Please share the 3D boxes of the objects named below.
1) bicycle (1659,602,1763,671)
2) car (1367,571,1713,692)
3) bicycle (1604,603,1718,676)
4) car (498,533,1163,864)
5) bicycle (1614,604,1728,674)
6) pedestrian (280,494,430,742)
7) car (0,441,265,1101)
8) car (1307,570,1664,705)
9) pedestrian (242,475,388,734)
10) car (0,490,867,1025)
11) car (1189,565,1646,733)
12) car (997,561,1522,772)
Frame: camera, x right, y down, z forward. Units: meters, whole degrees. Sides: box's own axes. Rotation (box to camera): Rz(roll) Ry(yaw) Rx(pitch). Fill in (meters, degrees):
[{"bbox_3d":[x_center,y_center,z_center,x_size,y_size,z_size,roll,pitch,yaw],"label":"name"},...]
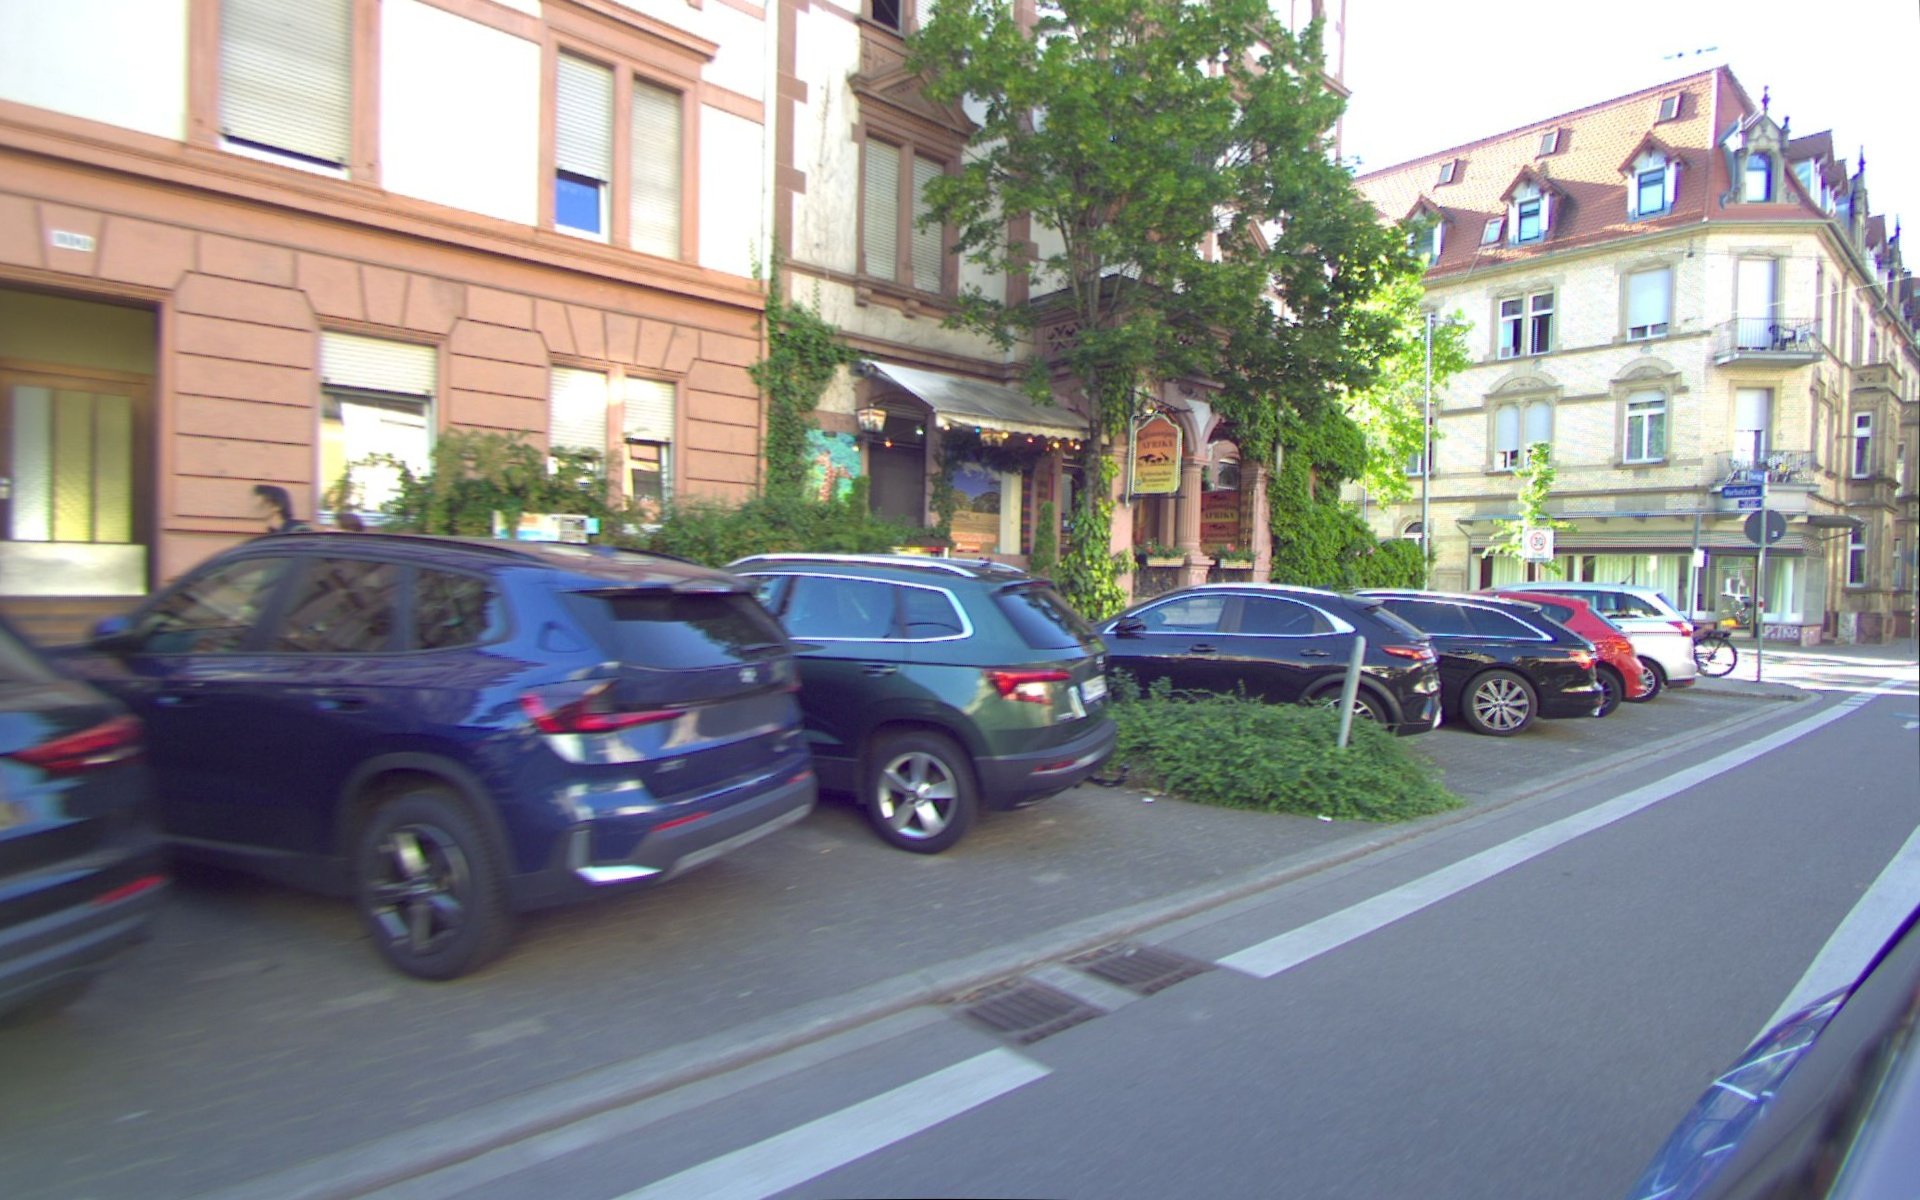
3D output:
[{"bbox_3d":[13.417,0.628,18.104,0.542,1.141,1.400,0,1,-40],"label":"bicycle"},{"bbox_3d":[8.563,0.378,15.397,4.320,1.616,1.837,1,1,26],"label":"car"},{"bbox_3d":[11.724,0.638,16.980,0.289,1.141,1.566,0,1,-34],"label":"bicycle"},{"bbox_3d":[-0.849,0.434,6.682,3.958,1.616,1.943,1,1,25],"label":"car"},{"bbox_3d":[12.008,0.643,17.141,0.301,1.092,1.562,0,1,-34],"label":"bicycle"},{"bbox_3d":[-4.341,0.113,7.269,0.848,1.669,0.519,0,1,-41],"label":"pedestrian"},{"bbox_3d":[-4.457,0.394,2.866,4.260,1.616,1.971,1,1,19],"label":"car"},{"bbox_3d":[6.841,0.399,13.573,3.958,1.556,1.902,1,1,25],"label":"car"},{"bbox_3d":[-4.780,0.024,7.507,0.848,1.800,0.519,0,1,-41],"label":"pedestrian"},{"bbox_3d":[-2.669,0.426,4.848,3.958,1.616,2.070,1,1,25],"label":"car"},{"bbox_3d":[5.054,0.425,11.659,4.403,1.616,2.071,1,1,25],"label":"car"},{"bbox_3d":[2.692,0.462,9.526,4.282,1.616,2.030,1,1,22],"label":"car"}]
